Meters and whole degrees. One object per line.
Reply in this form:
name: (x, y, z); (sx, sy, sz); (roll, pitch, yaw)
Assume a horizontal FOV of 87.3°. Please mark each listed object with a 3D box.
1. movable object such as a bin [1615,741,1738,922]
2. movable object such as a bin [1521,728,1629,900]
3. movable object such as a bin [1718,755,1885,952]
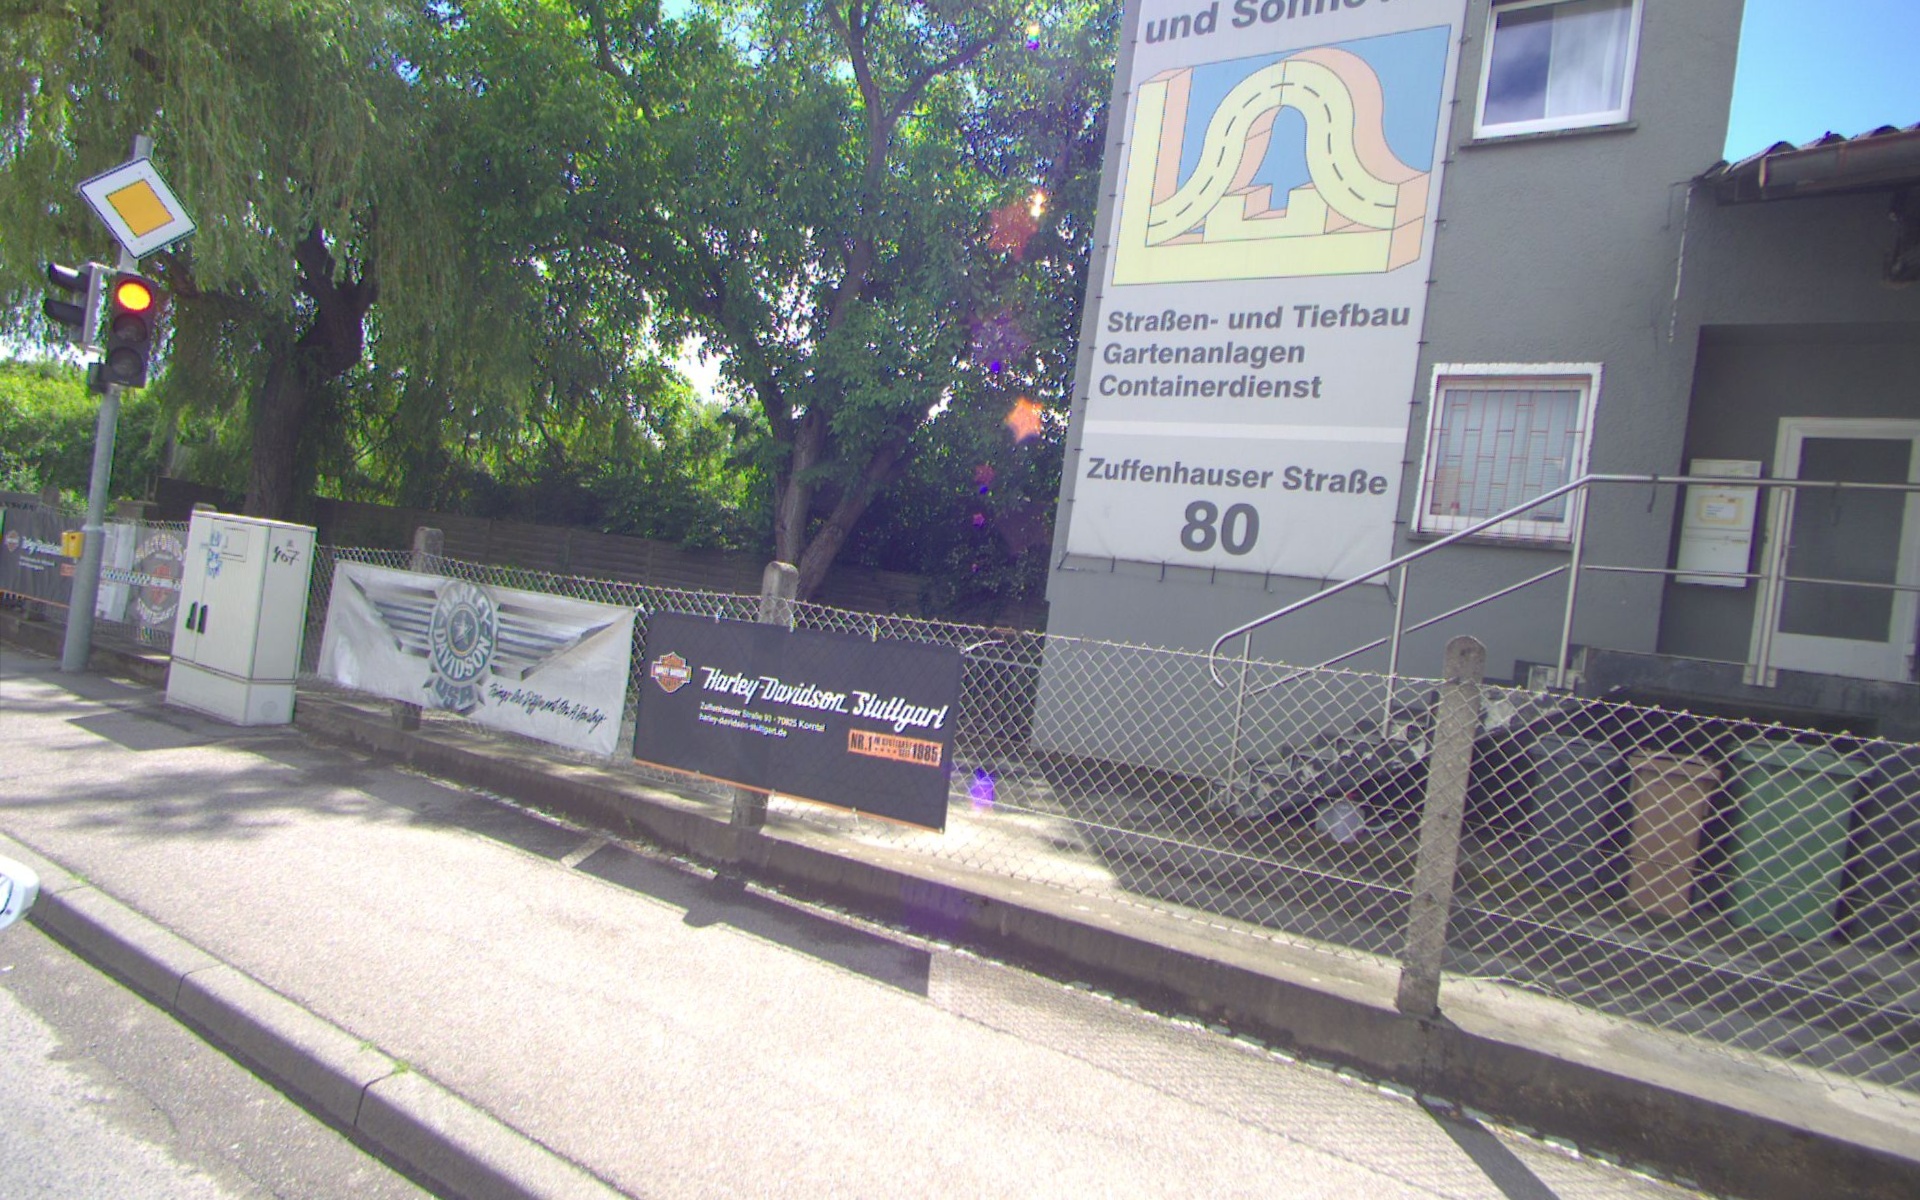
movable object such as a bin: (4.267, 1.356, 6.020); (0.466, 0.941, 0.482); (6, -1, 30)
movable object such as a bin: (3.822, 1.308, 6.283); (0.466, 0.941, 0.482); (6, -1, 30)
movable object such as a bin: (4.763, 1.411, 5.729); (0.574, 0.941, 0.482); (6, -1, 30)
